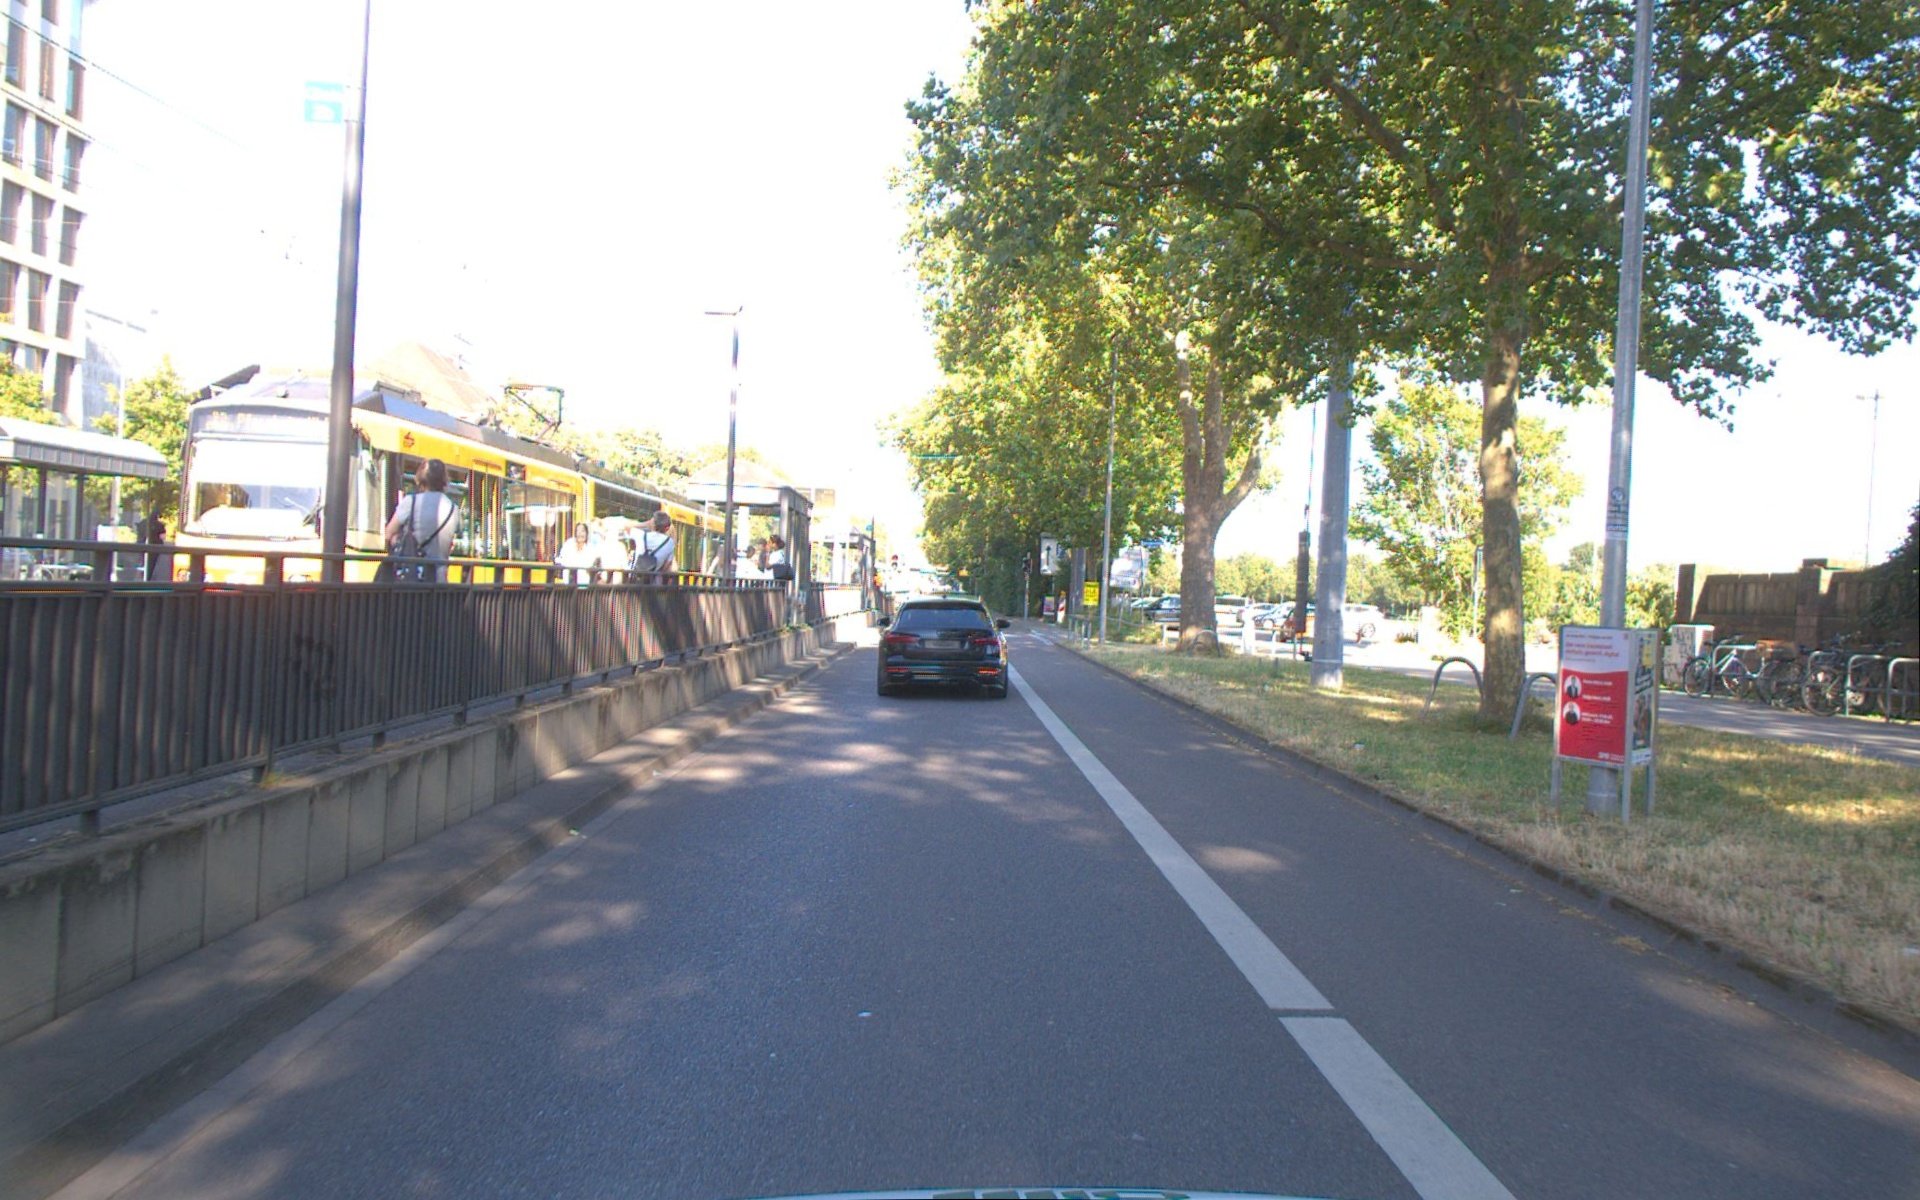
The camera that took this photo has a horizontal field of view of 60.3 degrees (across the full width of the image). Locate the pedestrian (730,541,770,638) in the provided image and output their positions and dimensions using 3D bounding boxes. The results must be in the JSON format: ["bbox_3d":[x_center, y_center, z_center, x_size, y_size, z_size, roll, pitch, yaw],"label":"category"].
[{"bbox_3d":[-4.026,-0.199,31.732,0.597,1.815,0.681,3,0,-1],"label":"pedestrian"}]

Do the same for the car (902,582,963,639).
[{"bbox_3d":[-0.920,0.305,52.374,1.727,1.647,3.998,3,0,-3],"label":"car"}]

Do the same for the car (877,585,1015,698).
[{"bbox_3d":[-0.268,0.548,24.111,1.841,1.482,3.355,1,1,-3],"label":"car"}]

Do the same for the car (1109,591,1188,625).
[{"bbox_3d":[9.696,0.390,85.108,3.806,1.531,1.888,3,0,0],"label":"car"}]

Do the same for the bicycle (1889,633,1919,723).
[{"bbox_3d":[13.130,1.033,21.603,1.737,1.140,0.439,1,0,-2],"label":"bicycle"}]

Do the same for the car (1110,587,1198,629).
[{"bbox_3d":[9.176,0.369,78.542,3.906,1.795,1.833,3,0,0],"label":"car"}]

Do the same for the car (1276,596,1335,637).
[{"bbox_3d":[14.371,0.662,68.891,1.581,1.541,3.803,3,0,-1],"label":"car"}]

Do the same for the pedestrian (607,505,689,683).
[{"bbox_3d":[-3.076,-0.063,16.347,0.599,1.697,0.613,3,0,1],"label":"pedestrian"}]

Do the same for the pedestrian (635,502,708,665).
[{"bbox_3d":[-3.062,-0.178,17.523,0.602,1.671,0.610,3,0,-20],"label":"pedestrian"}]

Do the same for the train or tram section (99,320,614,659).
[{"bbox_3d":[-8.720,-1.370,26.956,3.242,3.896,14.216,3,0,-1],"label":"train or tram section"}]

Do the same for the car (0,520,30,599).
[{"bbox_3d":[-25.932,-1.084,42.445,1.954,2.048,3.998,3,1,-3],"label":"car"}]

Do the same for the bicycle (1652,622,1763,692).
[{"bbox_3d":[12.695,0.974,28.110,1.740,1.140,0.439,1,0,-8],"label":"bicycle"}]

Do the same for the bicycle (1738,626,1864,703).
[{"bbox_3d":[13.145,1.001,25.869,1.737,1.140,0.439,1,0,-2],"label":"bicycle"}]

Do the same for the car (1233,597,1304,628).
[{"bbox_3d":[20.741,0.807,111.171,4.267,1.847,1.998,3,0,-5],"label":"car"}]

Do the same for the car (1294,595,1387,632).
[{"bbox_3d":[19.774,0.706,86.084,4.365,1.687,1.918,3,0,3],"label":"car"}]

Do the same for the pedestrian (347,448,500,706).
[{"bbox_3d":[-3.431,-0.148,10.626,0.601,1.575,0.725,3,0,9],"label":"pedestrian"}]

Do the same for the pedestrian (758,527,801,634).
[{"bbox_3d":[-3.134,-0.336,28.697,0.599,1.815,0.613,3,0,-1],"label":"pedestrian"}]

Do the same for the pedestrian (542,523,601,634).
[{"bbox_3d":[-6.526,-0.355,27.820,0.777,1.815,0.625,3,0,-1],"label":"pedestrian"}]

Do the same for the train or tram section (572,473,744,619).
[{"bbox_3d":[-9.162,-1.547,51.929,3.242,3.896,11.841,3,0,-1],"label":"train or tram section"}]

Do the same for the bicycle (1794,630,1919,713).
[{"bbox_3d":[12.943,1.024,23.733,1.737,1.140,0.439,1,0,-2],"label":"bicycle"}]

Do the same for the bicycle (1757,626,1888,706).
[{"bbox_3d":[12.938,0.982,24.819,1.737,1.140,0.439,1,0,-2],"label":"bicycle"}]

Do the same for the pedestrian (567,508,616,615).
[{"bbox_3d":[-6.435,-0.660,28.900,0.599,1.815,0.775,3,0,-1],"label":"pedestrian"}]

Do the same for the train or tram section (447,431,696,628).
[{"bbox_3d":[-8.953,-1.499,40.017,3.242,3.896,11.841,3,0,-1],"label":"train or tram section"}]

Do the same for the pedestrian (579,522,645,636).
[{"bbox_3d":[-5.692,-0.342,27.064,0.788,1.815,0.639,3,0,-41],"label":"pedestrian"}]

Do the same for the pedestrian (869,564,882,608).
[{"bbox_3d":[-3.372,-0.550,65.944,0.403,1.746,0.665,3,0,-1],"label":"pedestrian"}]
